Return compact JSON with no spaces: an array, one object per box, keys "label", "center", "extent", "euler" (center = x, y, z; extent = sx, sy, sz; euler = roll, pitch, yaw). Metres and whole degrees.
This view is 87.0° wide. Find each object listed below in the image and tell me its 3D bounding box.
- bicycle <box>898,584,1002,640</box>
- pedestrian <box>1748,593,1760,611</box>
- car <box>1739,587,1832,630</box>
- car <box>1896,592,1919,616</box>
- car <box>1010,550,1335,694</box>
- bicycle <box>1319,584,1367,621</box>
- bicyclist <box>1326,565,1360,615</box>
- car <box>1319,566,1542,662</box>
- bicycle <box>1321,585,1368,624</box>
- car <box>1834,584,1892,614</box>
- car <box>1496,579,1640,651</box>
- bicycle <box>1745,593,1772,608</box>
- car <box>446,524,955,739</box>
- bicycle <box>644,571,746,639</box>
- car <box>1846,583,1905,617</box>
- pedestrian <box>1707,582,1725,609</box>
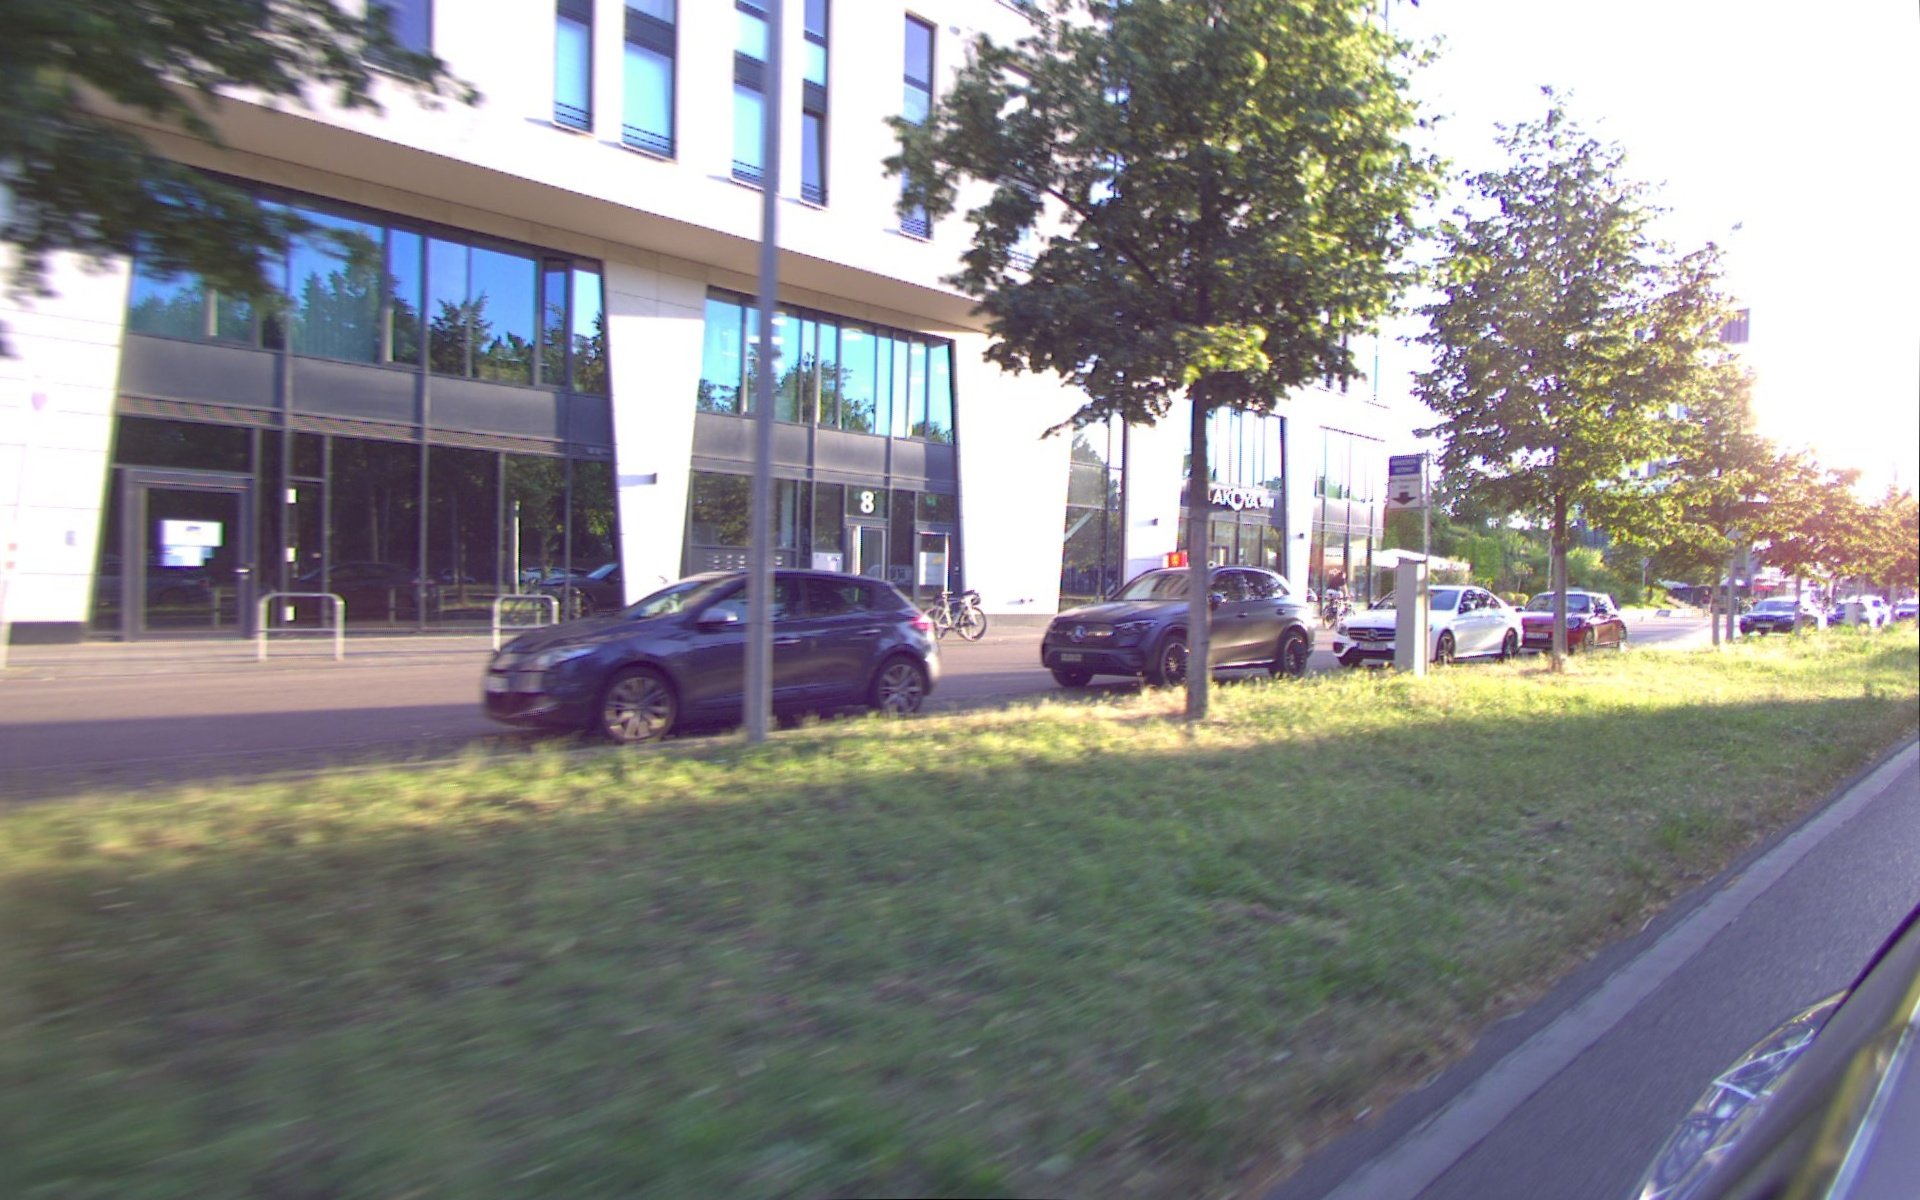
[{"label":"bicycle","center":[-0.175,0.208,20.131],"extent":[2.223,1.046,0.621],"euler":[0,2,-42]},{"label":"pedestrian","center":[61.427,0.128,78.294],"extent":[0.741,1.385,0.760],"euler":[2,1,38]},{"label":"car","center":[31.543,0.315,38.629],"extent":[4.288,1.519,1.814],"euler":[0,2,-38]},{"label":"car","center":[65.055,0.255,68.586],"extent":[5.318,1.519,1.923],"euler":[0,1,-42]},{"label":"car","center":[3.047,0.255,13.879],"extent":[4.737,1.644,1.956],"euler":[0,0,-42]},{"label":"bicycle","center":[12.396,0.074,32.708],"extent":[1.878,1.132,0.544],"euler":[0,1,-38]},{"label":"bicyclist","center":[12.372,-0.338,32.673],"extent":[1.001,1.588,0.546],"euler":[0,1,-38]},{"label":"car","center":[8.756,0.202,18.609],"extent":[4.923,1.519,1.924],"euler":[0,1,-42]},{"label":"bicycle","center":[11.804,0.127,31.055],"extent":[1.837,1.142,0.547],"euler":[0,3,-43]},{"label":"car","center":[45.040,-0.052,50.444],"extent":[3.931,1.415,1.752],"euler":[0,1,-42]},{"label":"car","center":[14.267,0.316,23.687],"extent":[3.891,1.519,1.811],"euler":[0,1,-42]},{"label":"bicycle","center":[54.967,0.042,69.674],"extent":[1.872,1.056,0.546],"euler":[0,1,-22]},{"label":"car","center":[-2.179,0.214,9.182],"extent":[4.158,1.520,1.727],"euler":[0,0,-41]},{"label":"bicycle","center":[-4.370,0.068,16.731],"extent":[0.533,1.073,1.587],"euler":[2,2,43]},{"label":"car","center":[48.637,0.000,53.745],"extent":[4.595,1.653,1.810],"euler":[0,-3,-42]},{"label":"pedestrian","center":[47.606,-0.314,63.738],"extent":[1.060,1.675,0.696],"euler":[0,1,-42]}]
